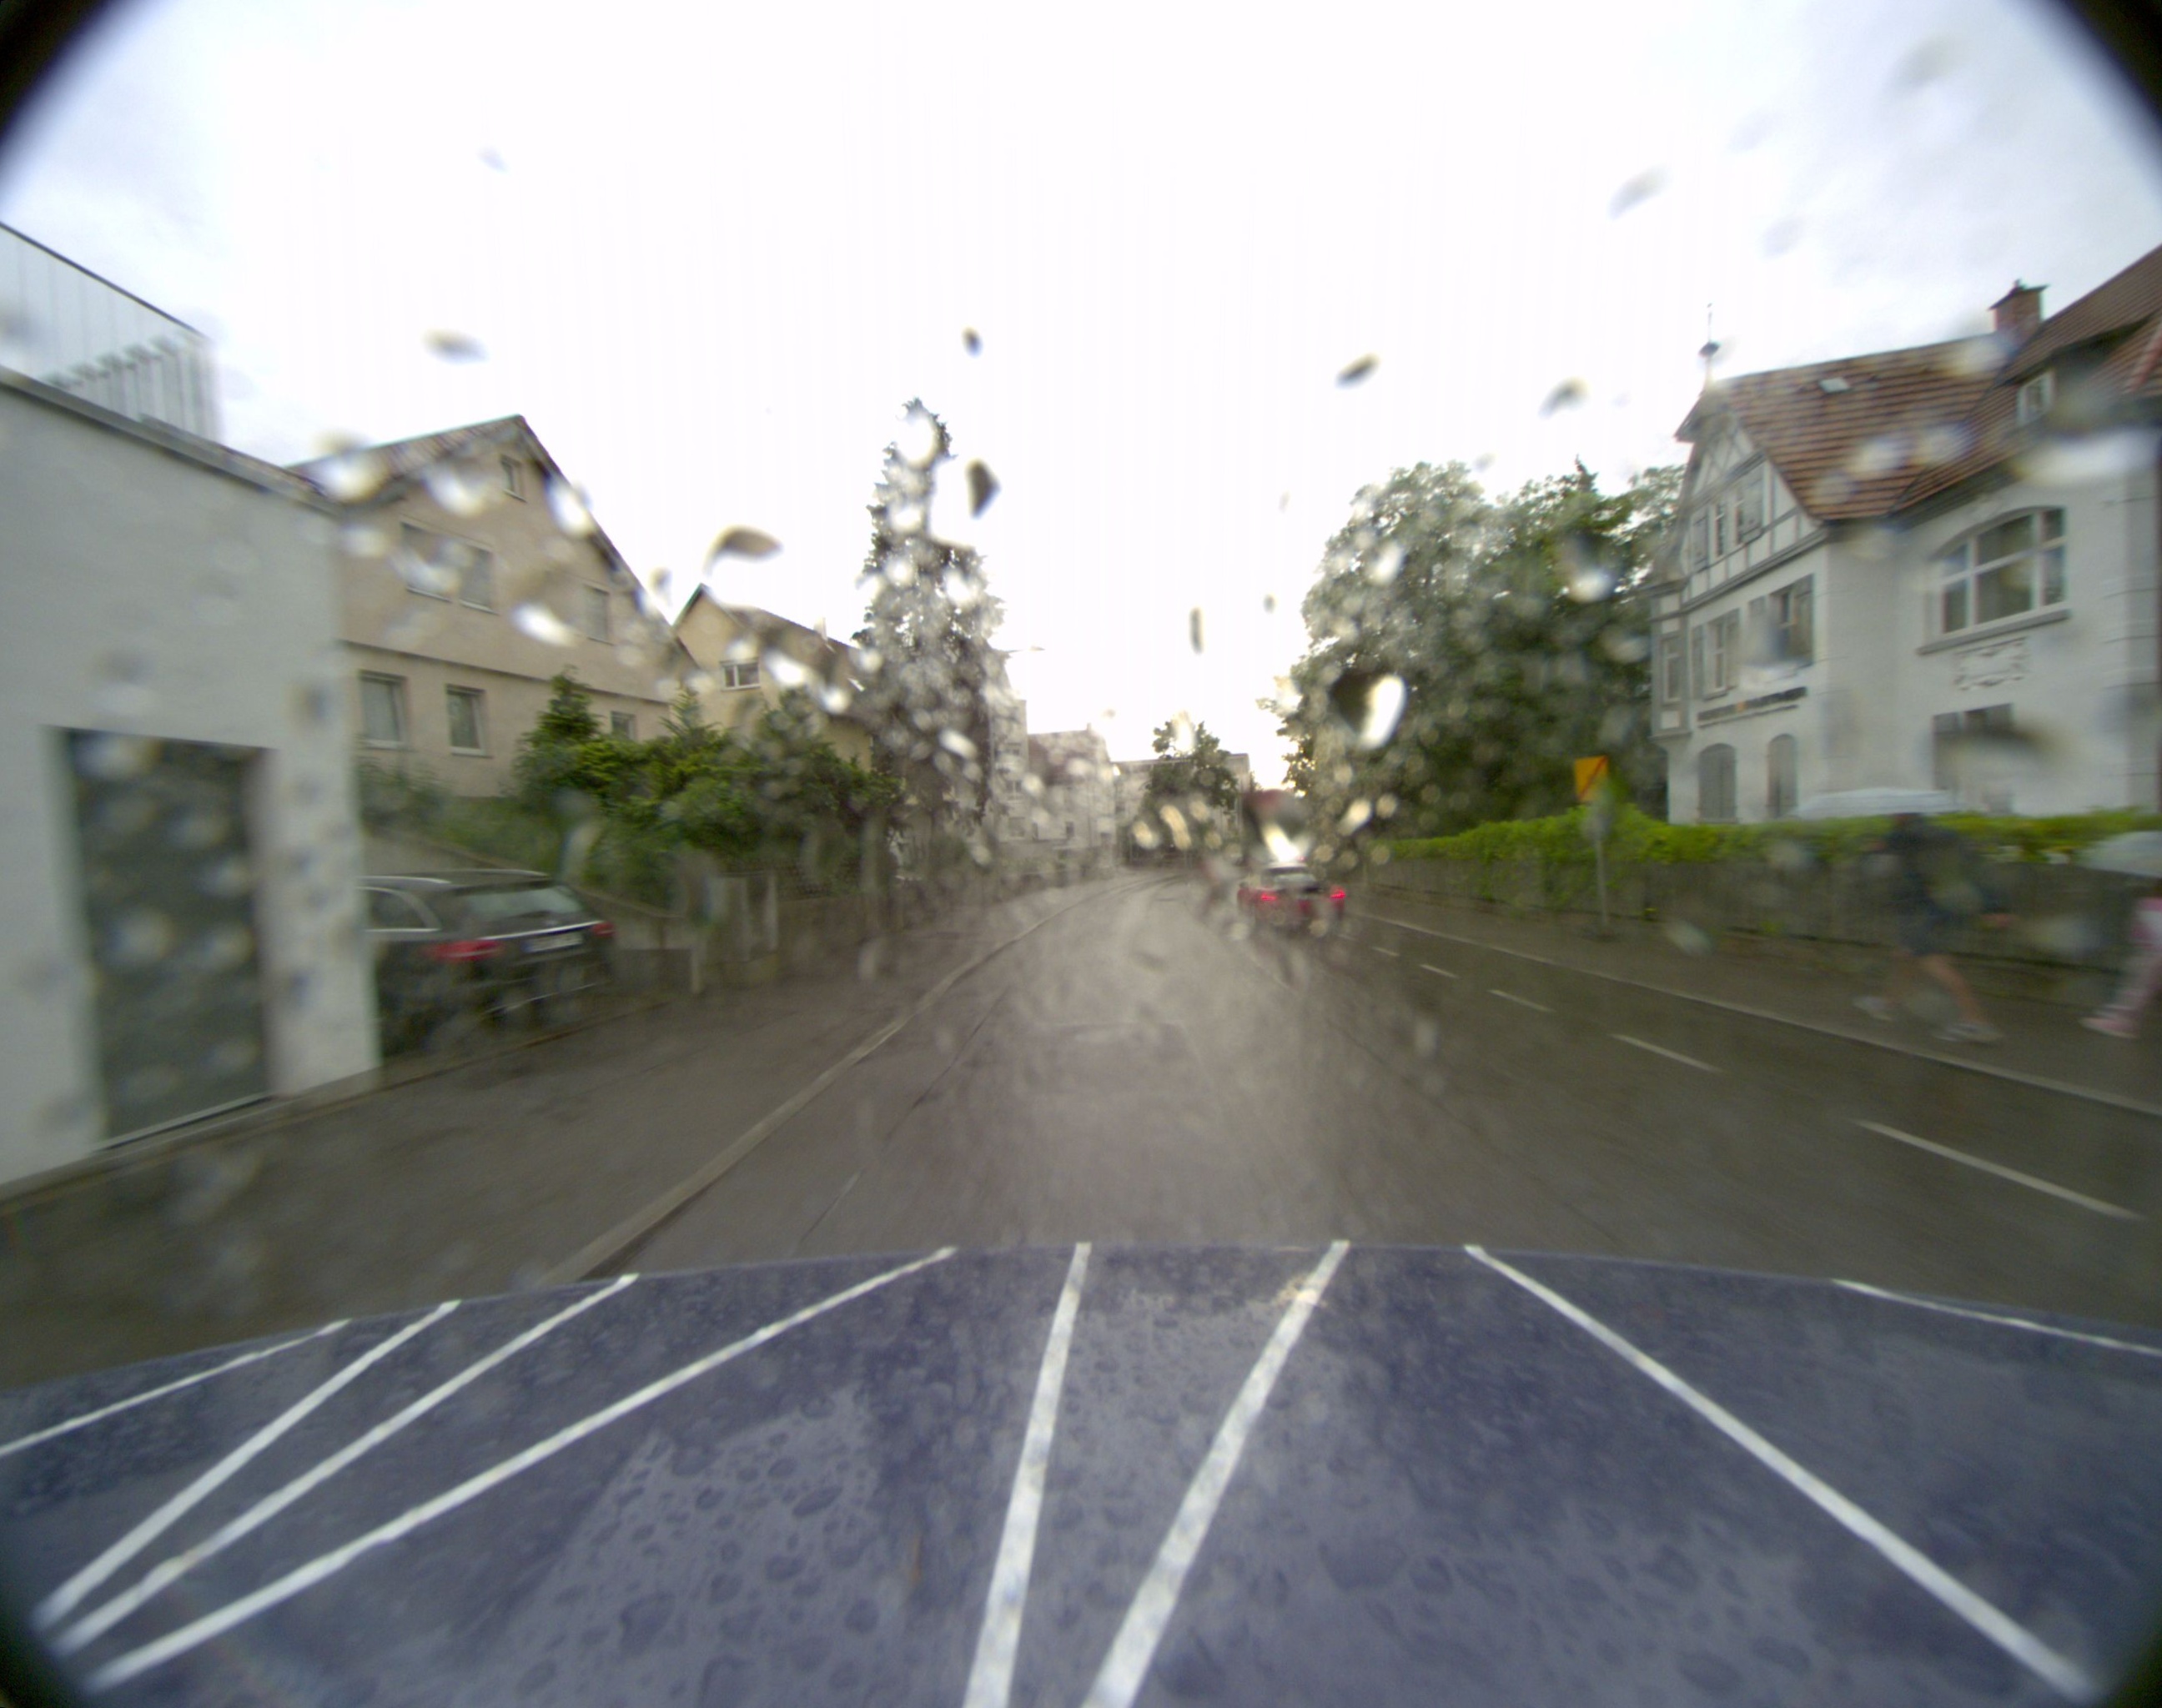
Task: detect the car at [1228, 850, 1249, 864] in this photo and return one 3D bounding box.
[{"bbox_3d":[19.140,0.386,92.142,1.783,1.560,4.734,-4,-1,20],"label":"car"}]

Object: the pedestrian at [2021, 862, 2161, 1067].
[{"bbox_3d":[6.886,0.673,4.707,0.757,1.173,1.040,-5,0,4],"label":"pedestrian"}]

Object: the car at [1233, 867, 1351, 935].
[{"bbox_3d":[4.284,0.899,16.021,1.682,1.139,4.002,-2,0,5],"label":"car"}]

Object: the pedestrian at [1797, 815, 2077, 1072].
[{"bbox_3d":[6.105,0.591,5.506,0.757,1.634,1.040,-5,0,4],"label":"pedestrian"}]

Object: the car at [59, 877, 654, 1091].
[{"bbox_3d":[-6.338,1.024,6.855,3.993,1.449,2.002,-2,0,14],"label":"car"}]

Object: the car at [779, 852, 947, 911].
[{"bbox_3d":[-6.408,0.801,22.460,4.323,1.643,1.965,-1,0,15],"label":"car"}]
